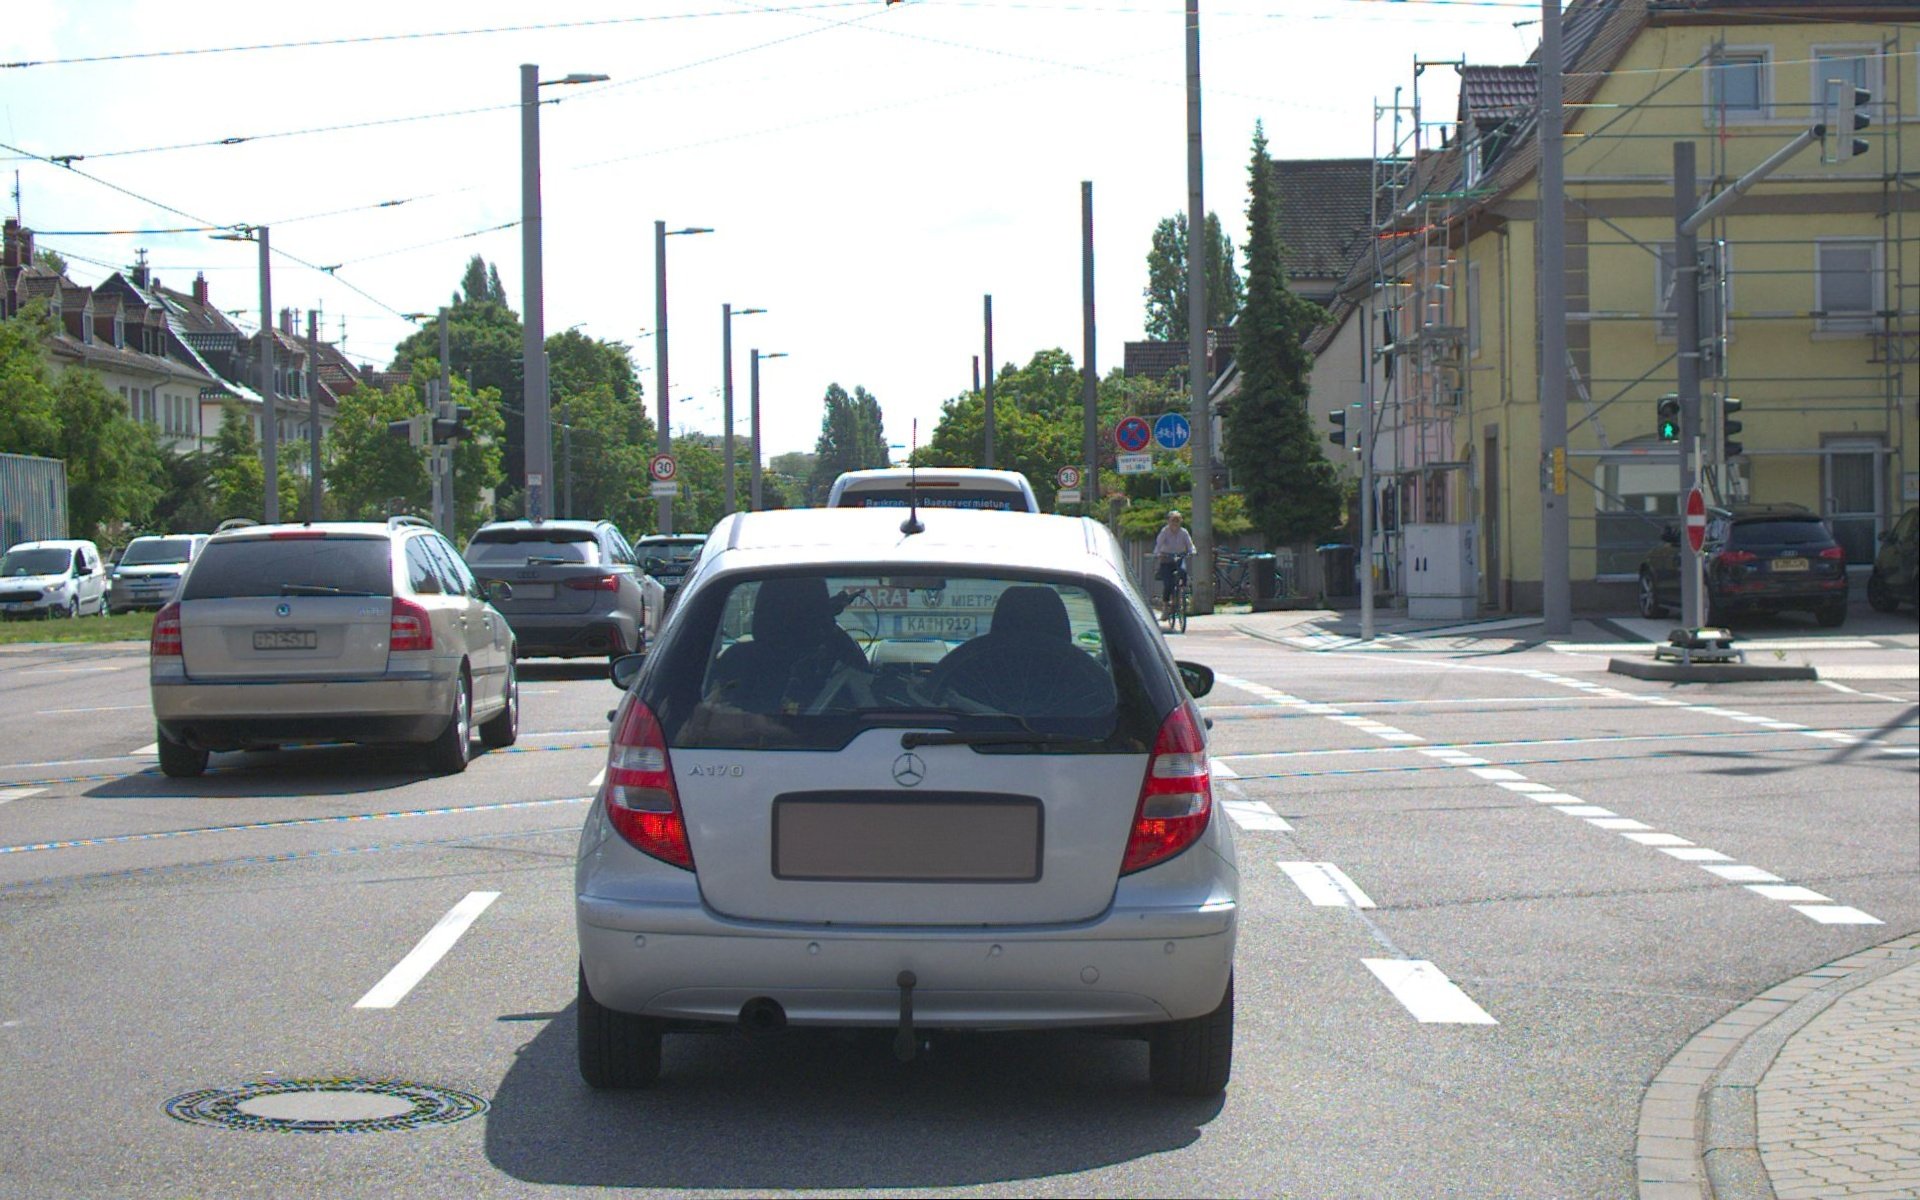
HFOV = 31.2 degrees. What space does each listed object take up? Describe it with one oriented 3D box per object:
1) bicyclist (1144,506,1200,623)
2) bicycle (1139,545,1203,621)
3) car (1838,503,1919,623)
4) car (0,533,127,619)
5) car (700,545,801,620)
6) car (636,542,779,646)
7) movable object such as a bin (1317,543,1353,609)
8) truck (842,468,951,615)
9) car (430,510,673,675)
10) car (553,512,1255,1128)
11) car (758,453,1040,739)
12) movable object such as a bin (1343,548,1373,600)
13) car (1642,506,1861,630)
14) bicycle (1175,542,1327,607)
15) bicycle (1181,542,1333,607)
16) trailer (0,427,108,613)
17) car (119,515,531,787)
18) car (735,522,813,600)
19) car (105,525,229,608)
[{"bbox_3d":[3.166,-0.530,51.444,0.650,1.732,0.984,1,0,-7],"label":"bicyclist"},{"bbox_3d":[3.154,-0.262,51.444,0.650,1.114,1.588,1,0,-7],"label":"bicycle"},{"bbox_3d":[13.612,-0.490,47.239,1.993,1.590,4.131,1,0,0],"label":"car"},{"bbox_3d":[-18.110,-0.471,68.534,1.794,1.631,4.471,-2,0,1],"label":"car"},{"bbox_3d":[-4.018,-0.344,66.515,1.852,1.383,3.919,1,0,-2],"label":"car"},{"bbox_3d":[-3.541,-0.098,48.815,1.852,1.383,4.515,1,0,-2],"label":"car"},{"bbox_3d":[6.285,-0.403,57.669,0.511,1.101,0.855,0,0,0],"label":"movable object such as a bin"},{"bbox_3d":[-1.216,-1.045,63.045,1.852,2.543,5.855,1,0,-2],"label":"truck"},{"bbox_3d":[-3.892,-0.094,33.457,1.916,1.472,4.562,1,1,-1],"label":"car"},{"bbox_3d":[-0.235,0.502,10.571,1.730,1.511,4.017,1,2,-3],"label":"car"},{"bbox_3d":[-0.437,-0.038,23.386,1.730,1.756,4.017,1,0,-2],"label":"car"},{"bbox_3d":[7.340,-0.477,63.442,0.468,0.943,0.558,-1,0,-1],"label":"movable object such as a bin"},{"bbox_3d":[10.710,-0.437,46.808,1.993,1.590,4.131,1,0,0],"label":"car"},{"bbox_3d":[5.392,-0.468,63.726,2.726,1.116,0.691,-2,0,-1],"label":"bicycle"},{"bbox_3d":[5.434,-0.469,62.997,2.661,1.101,0.786,-2,0,-1],"label":"bicycle"},{"bbox_3d":[-20.996,-1.626,71.970,2.599,3.808,12.837,-3,2,2],"label":"trailer"},{"bbox_3d":[-3.695,0.228,20.672,1.731,1.444,4.123,1,1,0],"label":"car"},{"bbox_3d":[-4.548,-0.954,84.554,1.852,1.837,3.919,1,0,-2],"label":"car"},{"bbox_3d":[-18.326,-0.778,79.599,1.794,1.809,4.713,-2,0,-1],"label":"car"}]
